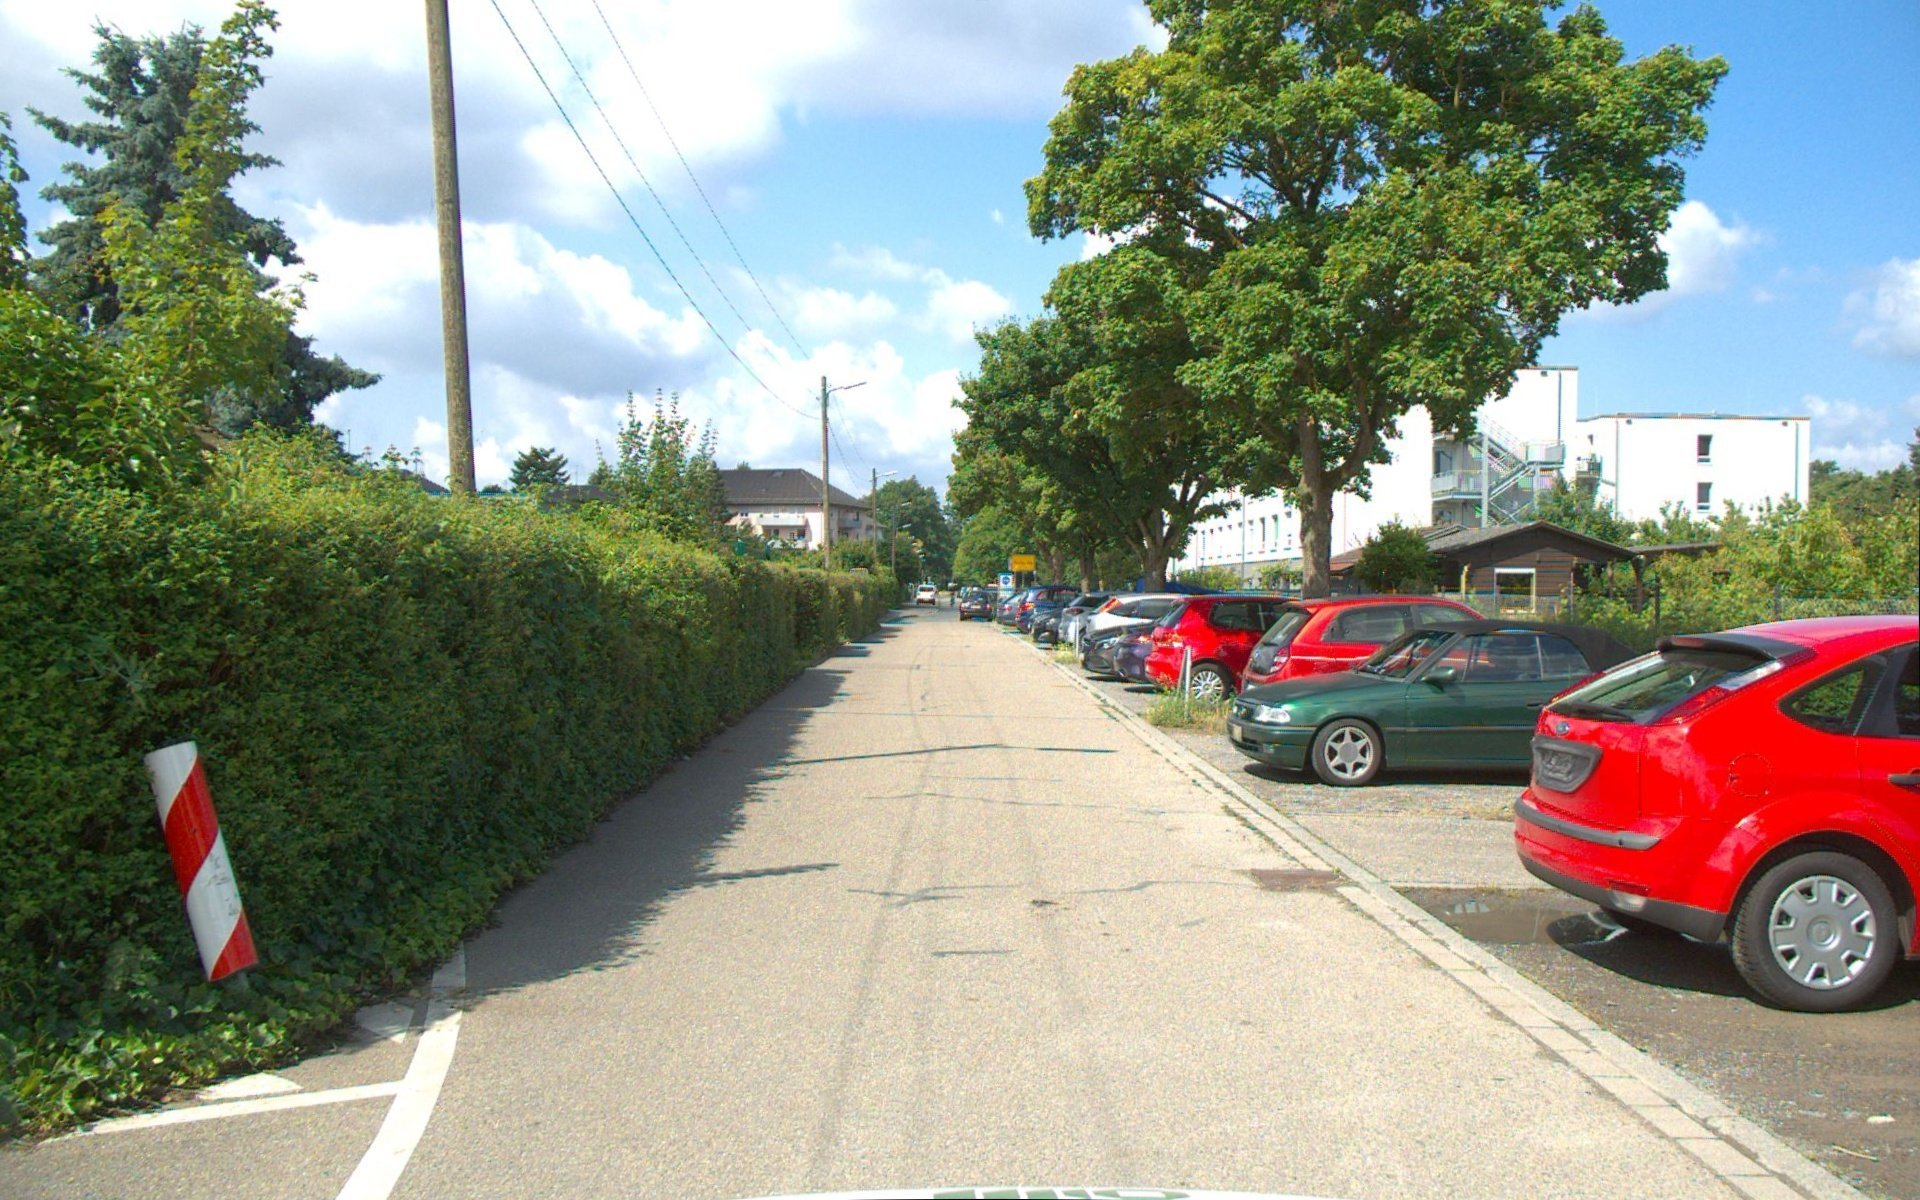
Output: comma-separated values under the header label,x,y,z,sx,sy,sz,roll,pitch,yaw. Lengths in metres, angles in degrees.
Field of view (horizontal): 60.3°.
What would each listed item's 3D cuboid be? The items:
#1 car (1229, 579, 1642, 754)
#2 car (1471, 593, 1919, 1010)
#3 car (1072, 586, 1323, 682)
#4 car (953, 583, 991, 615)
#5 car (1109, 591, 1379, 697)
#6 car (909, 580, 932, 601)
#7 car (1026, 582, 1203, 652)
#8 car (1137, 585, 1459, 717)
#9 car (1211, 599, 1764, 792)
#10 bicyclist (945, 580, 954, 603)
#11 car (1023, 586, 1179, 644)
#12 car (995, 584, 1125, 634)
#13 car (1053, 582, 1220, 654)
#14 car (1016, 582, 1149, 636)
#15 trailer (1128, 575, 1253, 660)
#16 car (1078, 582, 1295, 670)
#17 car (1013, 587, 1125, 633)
label,x,y,z,sx,sy,sz,roll,pitch,yaw
car,4.805,0.650,17.105,3.688,1.601,1.869,2,0,-1
car,4.561,0.804,7.154,4.097,1.530,1.878,2,0,0
car,4.038,0.568,28.576,3.984,1.481,1.869,2,0,-3
car,0.644,-0.047,83.752,1.628,1.532,4.002,2,0,4
car,4.278,0.648,25.412,3.829,1.448,1.958,2,0,2
car,-3.625,-0.872,152.310,1.863,1.846,4.001,2,0,2
car,3.865,0.419,41.844,4.215,1.621,1.999,2,0,-2
car,4.376,0.648,21.899,3.904,1.546,1.855,2,0,3
car,4.456,0.786,14.375,4.155,1.453,1.906,2,0,-5
bicyclist,-0.864,-0.691,139.141,0.645,1.884,1.043,-1,0,2
car,3.992,0.418,47.415,4.248,1.518,1.975,2,0,-2
car,3.532,0.307,59.081,4.457,1.606,1.808,2,0,-2
car,4.146,0.422,39.266,3.650,1.567,1.848,2,0,-4
car,3.849,0.288,52.491,4.070,1.666,1.878,0,0,-1
trailer,5.043,0.371,36.392,2.402,1.750,1.517,2,1,-5
car,4.345,0.497,32.187,3.980,1.538,1.958,2,0,2
car,3.706,0.342,56.674,3.732,1.559,1.762,0,0,-1
